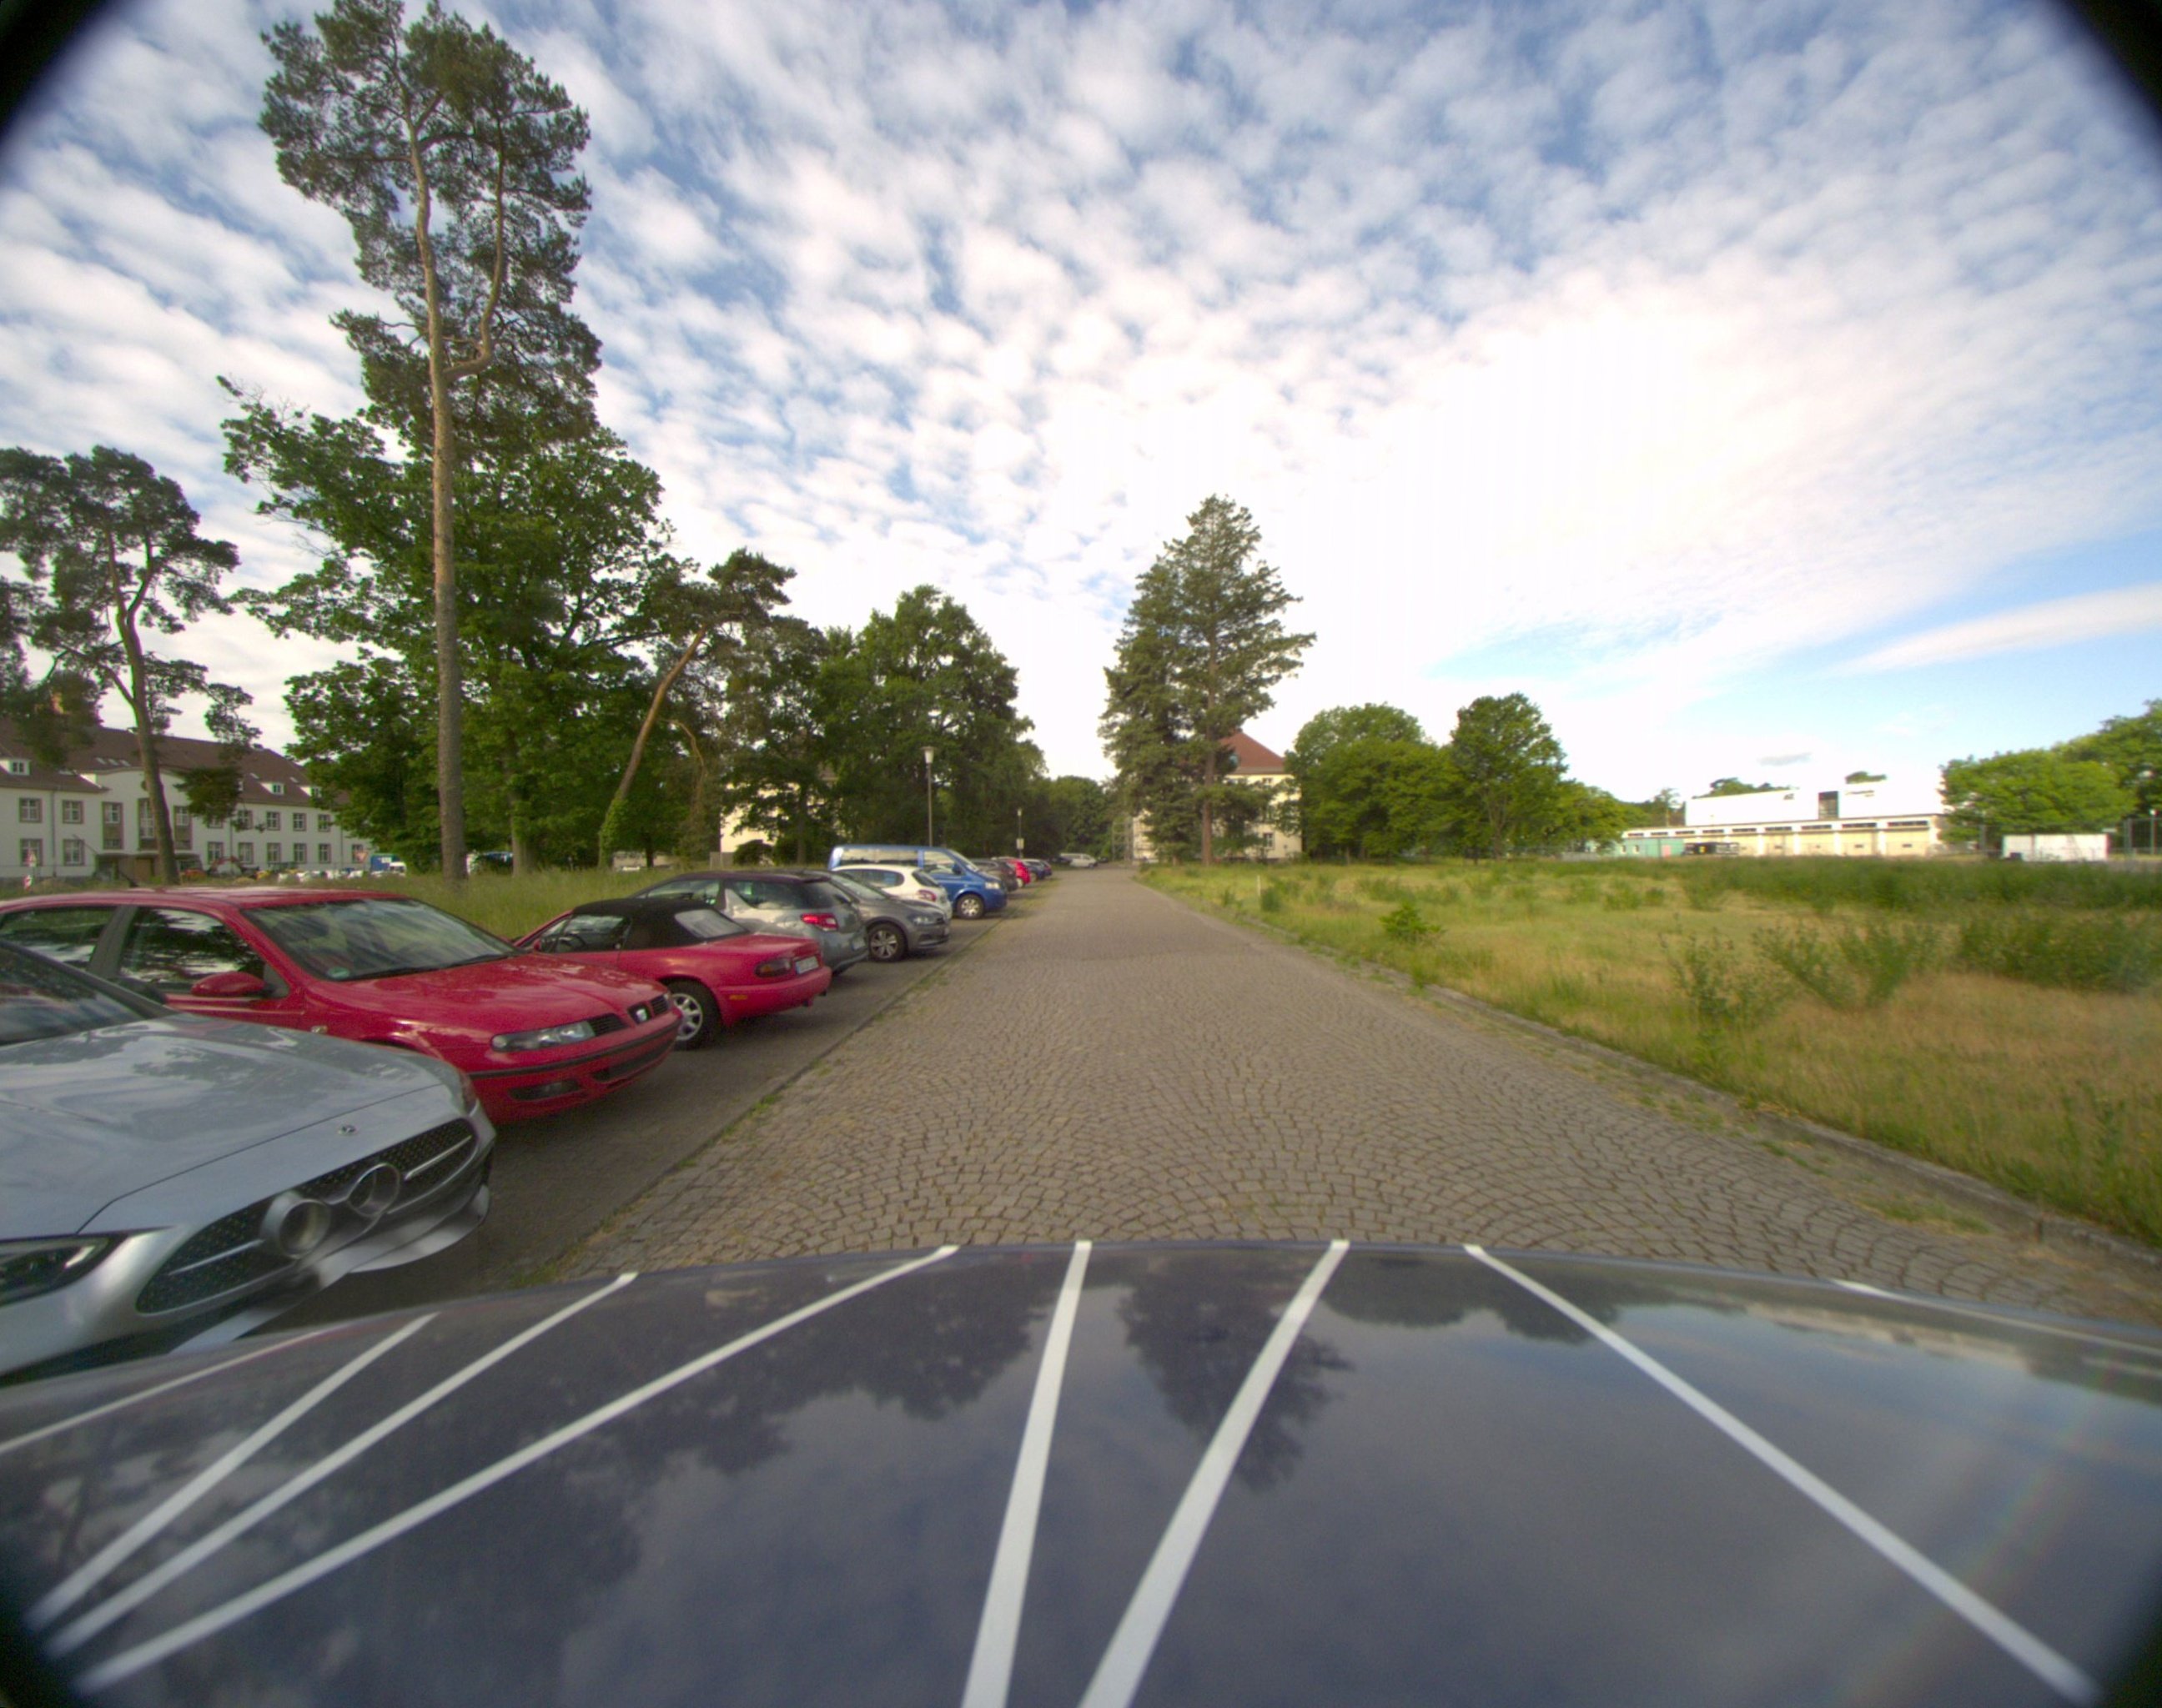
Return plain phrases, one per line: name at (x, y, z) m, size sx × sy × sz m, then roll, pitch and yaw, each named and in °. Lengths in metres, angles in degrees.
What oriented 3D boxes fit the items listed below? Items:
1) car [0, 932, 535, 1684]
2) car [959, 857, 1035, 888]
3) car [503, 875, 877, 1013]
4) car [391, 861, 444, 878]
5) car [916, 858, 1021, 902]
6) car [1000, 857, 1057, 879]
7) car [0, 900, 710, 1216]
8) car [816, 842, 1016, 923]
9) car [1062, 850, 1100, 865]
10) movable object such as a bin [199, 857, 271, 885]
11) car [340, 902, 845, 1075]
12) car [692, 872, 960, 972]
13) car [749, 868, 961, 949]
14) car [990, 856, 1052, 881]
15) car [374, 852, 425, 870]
car at (-4.452, 1.040, 2.264) m, size 4.337 × 1.420 × 1.767 m, roll 0°, pitch 0°, yaw -1°
car at (-4.371, 0.971, 39.769) m, size 3.838 × 1.516 × 1.580 m, roll -1°, pitch 0°, yaw -3°
car at (-4.711, 1.061, 9.543) m, size 3.837 × 1.494 × 1.604 m, roll -1°, pitch 0°, yaw 0°
car at (-67.651, 1.560, 77.528) m, size 1.847 × 1.674 × 3.937 m, roll 1°, pitch 0°, yaw 3°
car at (-4.294, 0.970, 29.413) m, size 3.838 × 1.592 × 1.581 m, roll -1°, pitch 0°, yaw -3°
car at (-3.792, 1.004, 54.970) m, size 3.836 × 1.520 × 1.674 m, roll -1°, pitch 0°, yaw 5°
car at (-4.733, 1.068, 4.591) m, size 4.117 × 1.415 × 1.720 m, roll -1°, pitch 0°, yaw 1°
car at (-4.394, 0.741, 20.768) m, size 4.953 × 2.011 × 2.060 m, roll 1°, pitch 0°, yaw 1°
car at (-0.012, 0.488, 103.623) m, size 5.129 × 2.002 × 1.804 m, roll -1°, pitch 0°, yaw -1°
movable object such as a bin at (-88.692, 1.757, 79.766) m, size 1.999 × 2.752 × 5.201 m, roll -1°, pitch 0°, yaw -4°
car at (-4.195, 1.134, 6.912) m, size 3.555 × 1.279 × 1.608 m, roll -1°, pitch -1°, yaw 2°
car at (-4.039, 1.066, 12.435) m, size 3.781 × 1.457 × 1.643 m, roll -1°, pitch 0°, yaw 2°
car at (-4.464, 1.065, 15.345) m, size 3.761 × 1.490 × 1.581 m, roll -1°, pitch 0°, yaw 2°
car at (-3.962, 0.946, 50.160) m, size 3.836 × 1.609 × 1.582 m, roll -1°, pitch 0°, yaw 5°
car at (-81.071, 0.789, 90.426) m, size 2.217 × 2.002 × 4.001 m, roll -1°, pitch 0°, yaw 6°
